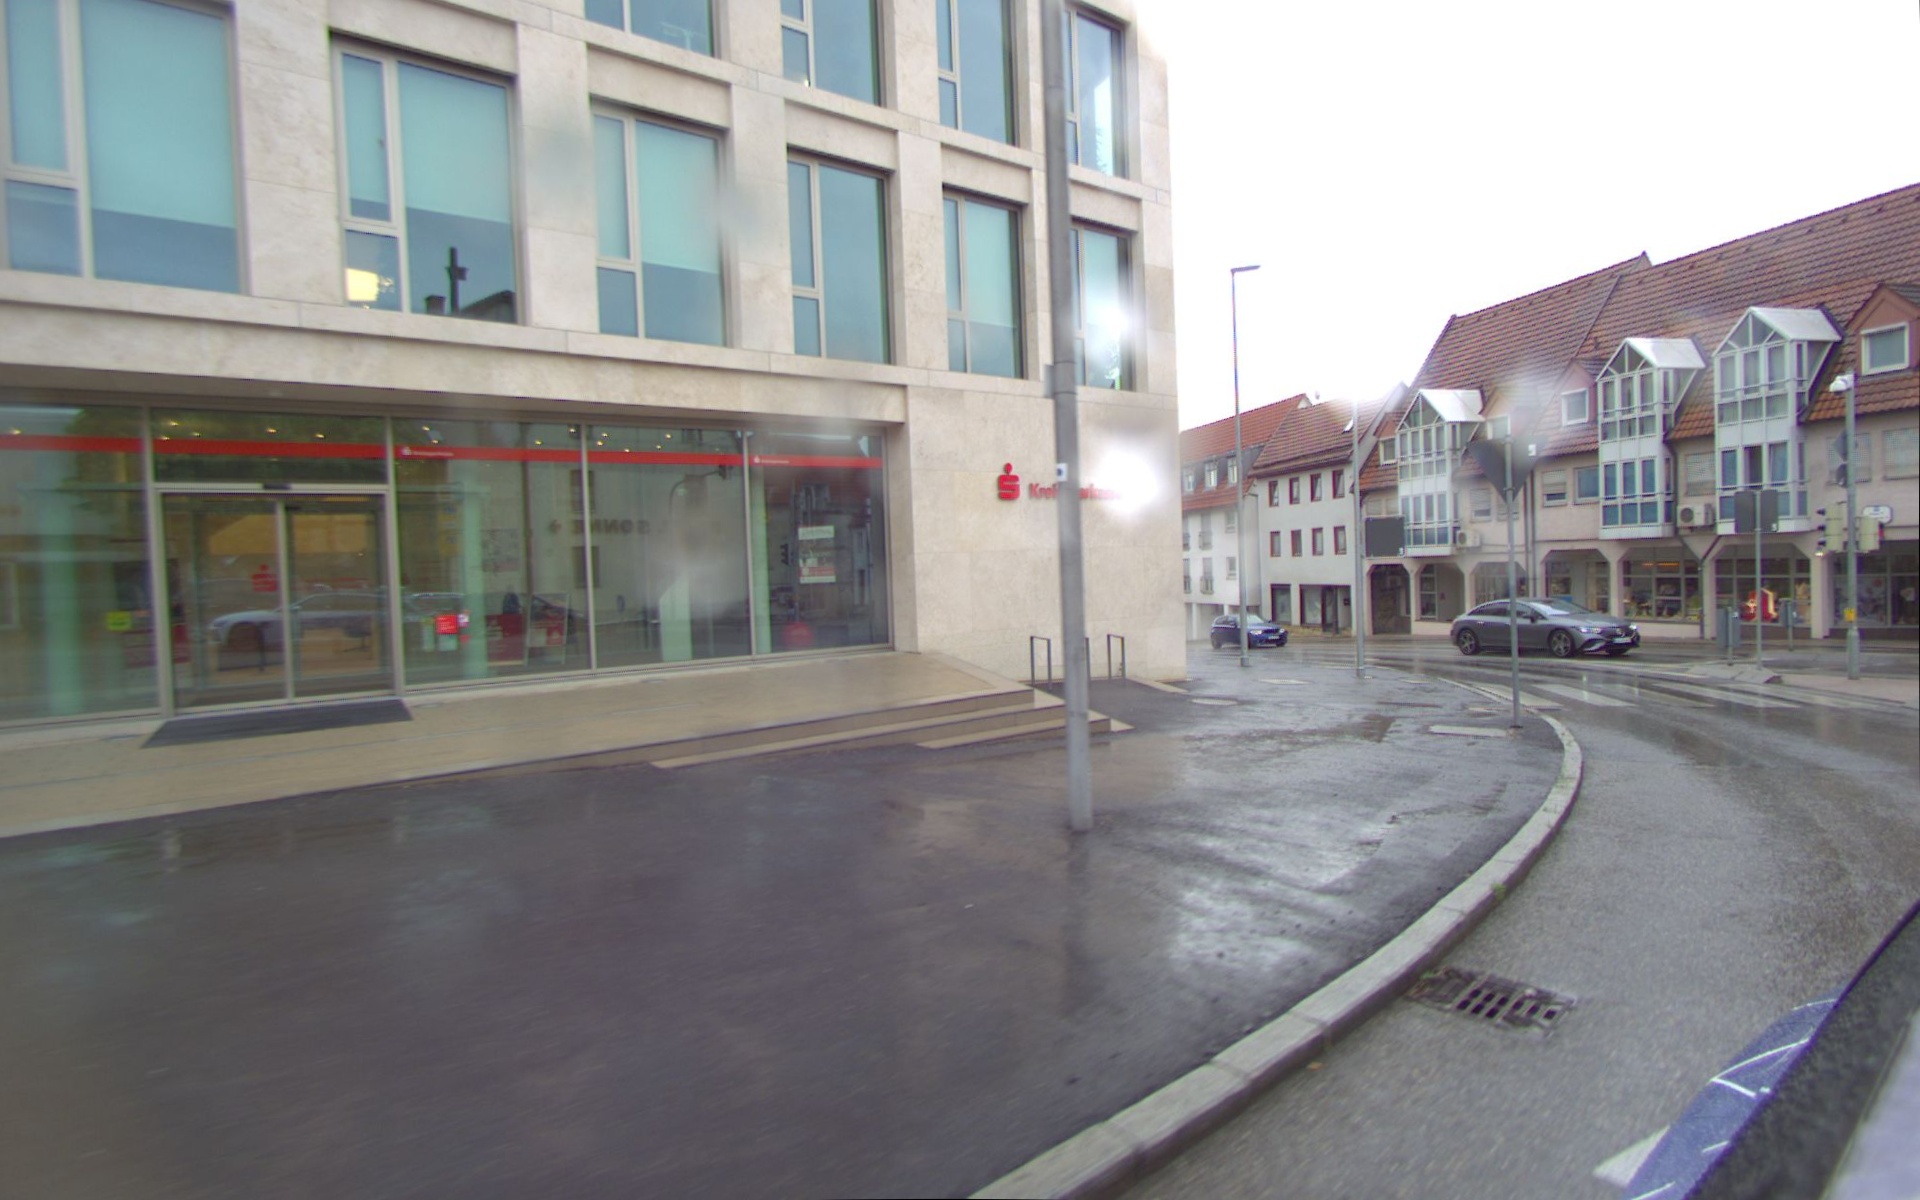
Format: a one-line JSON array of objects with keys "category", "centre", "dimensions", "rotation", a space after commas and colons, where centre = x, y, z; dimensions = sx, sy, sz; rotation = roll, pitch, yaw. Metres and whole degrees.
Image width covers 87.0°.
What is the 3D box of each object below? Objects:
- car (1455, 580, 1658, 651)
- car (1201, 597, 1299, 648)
[{"category": "car", "centre": [15.279, 0.483, 26.293], "dimensions": [1.928, 1.578, 4.627], "rotation": [-3, -3, -9]}, {"category": "car", "centre": [11.992, 0.973, 42.185], "dimensions": [1.928, 1.793, 4.388], "rotation": [-3, -4, -13]}]
